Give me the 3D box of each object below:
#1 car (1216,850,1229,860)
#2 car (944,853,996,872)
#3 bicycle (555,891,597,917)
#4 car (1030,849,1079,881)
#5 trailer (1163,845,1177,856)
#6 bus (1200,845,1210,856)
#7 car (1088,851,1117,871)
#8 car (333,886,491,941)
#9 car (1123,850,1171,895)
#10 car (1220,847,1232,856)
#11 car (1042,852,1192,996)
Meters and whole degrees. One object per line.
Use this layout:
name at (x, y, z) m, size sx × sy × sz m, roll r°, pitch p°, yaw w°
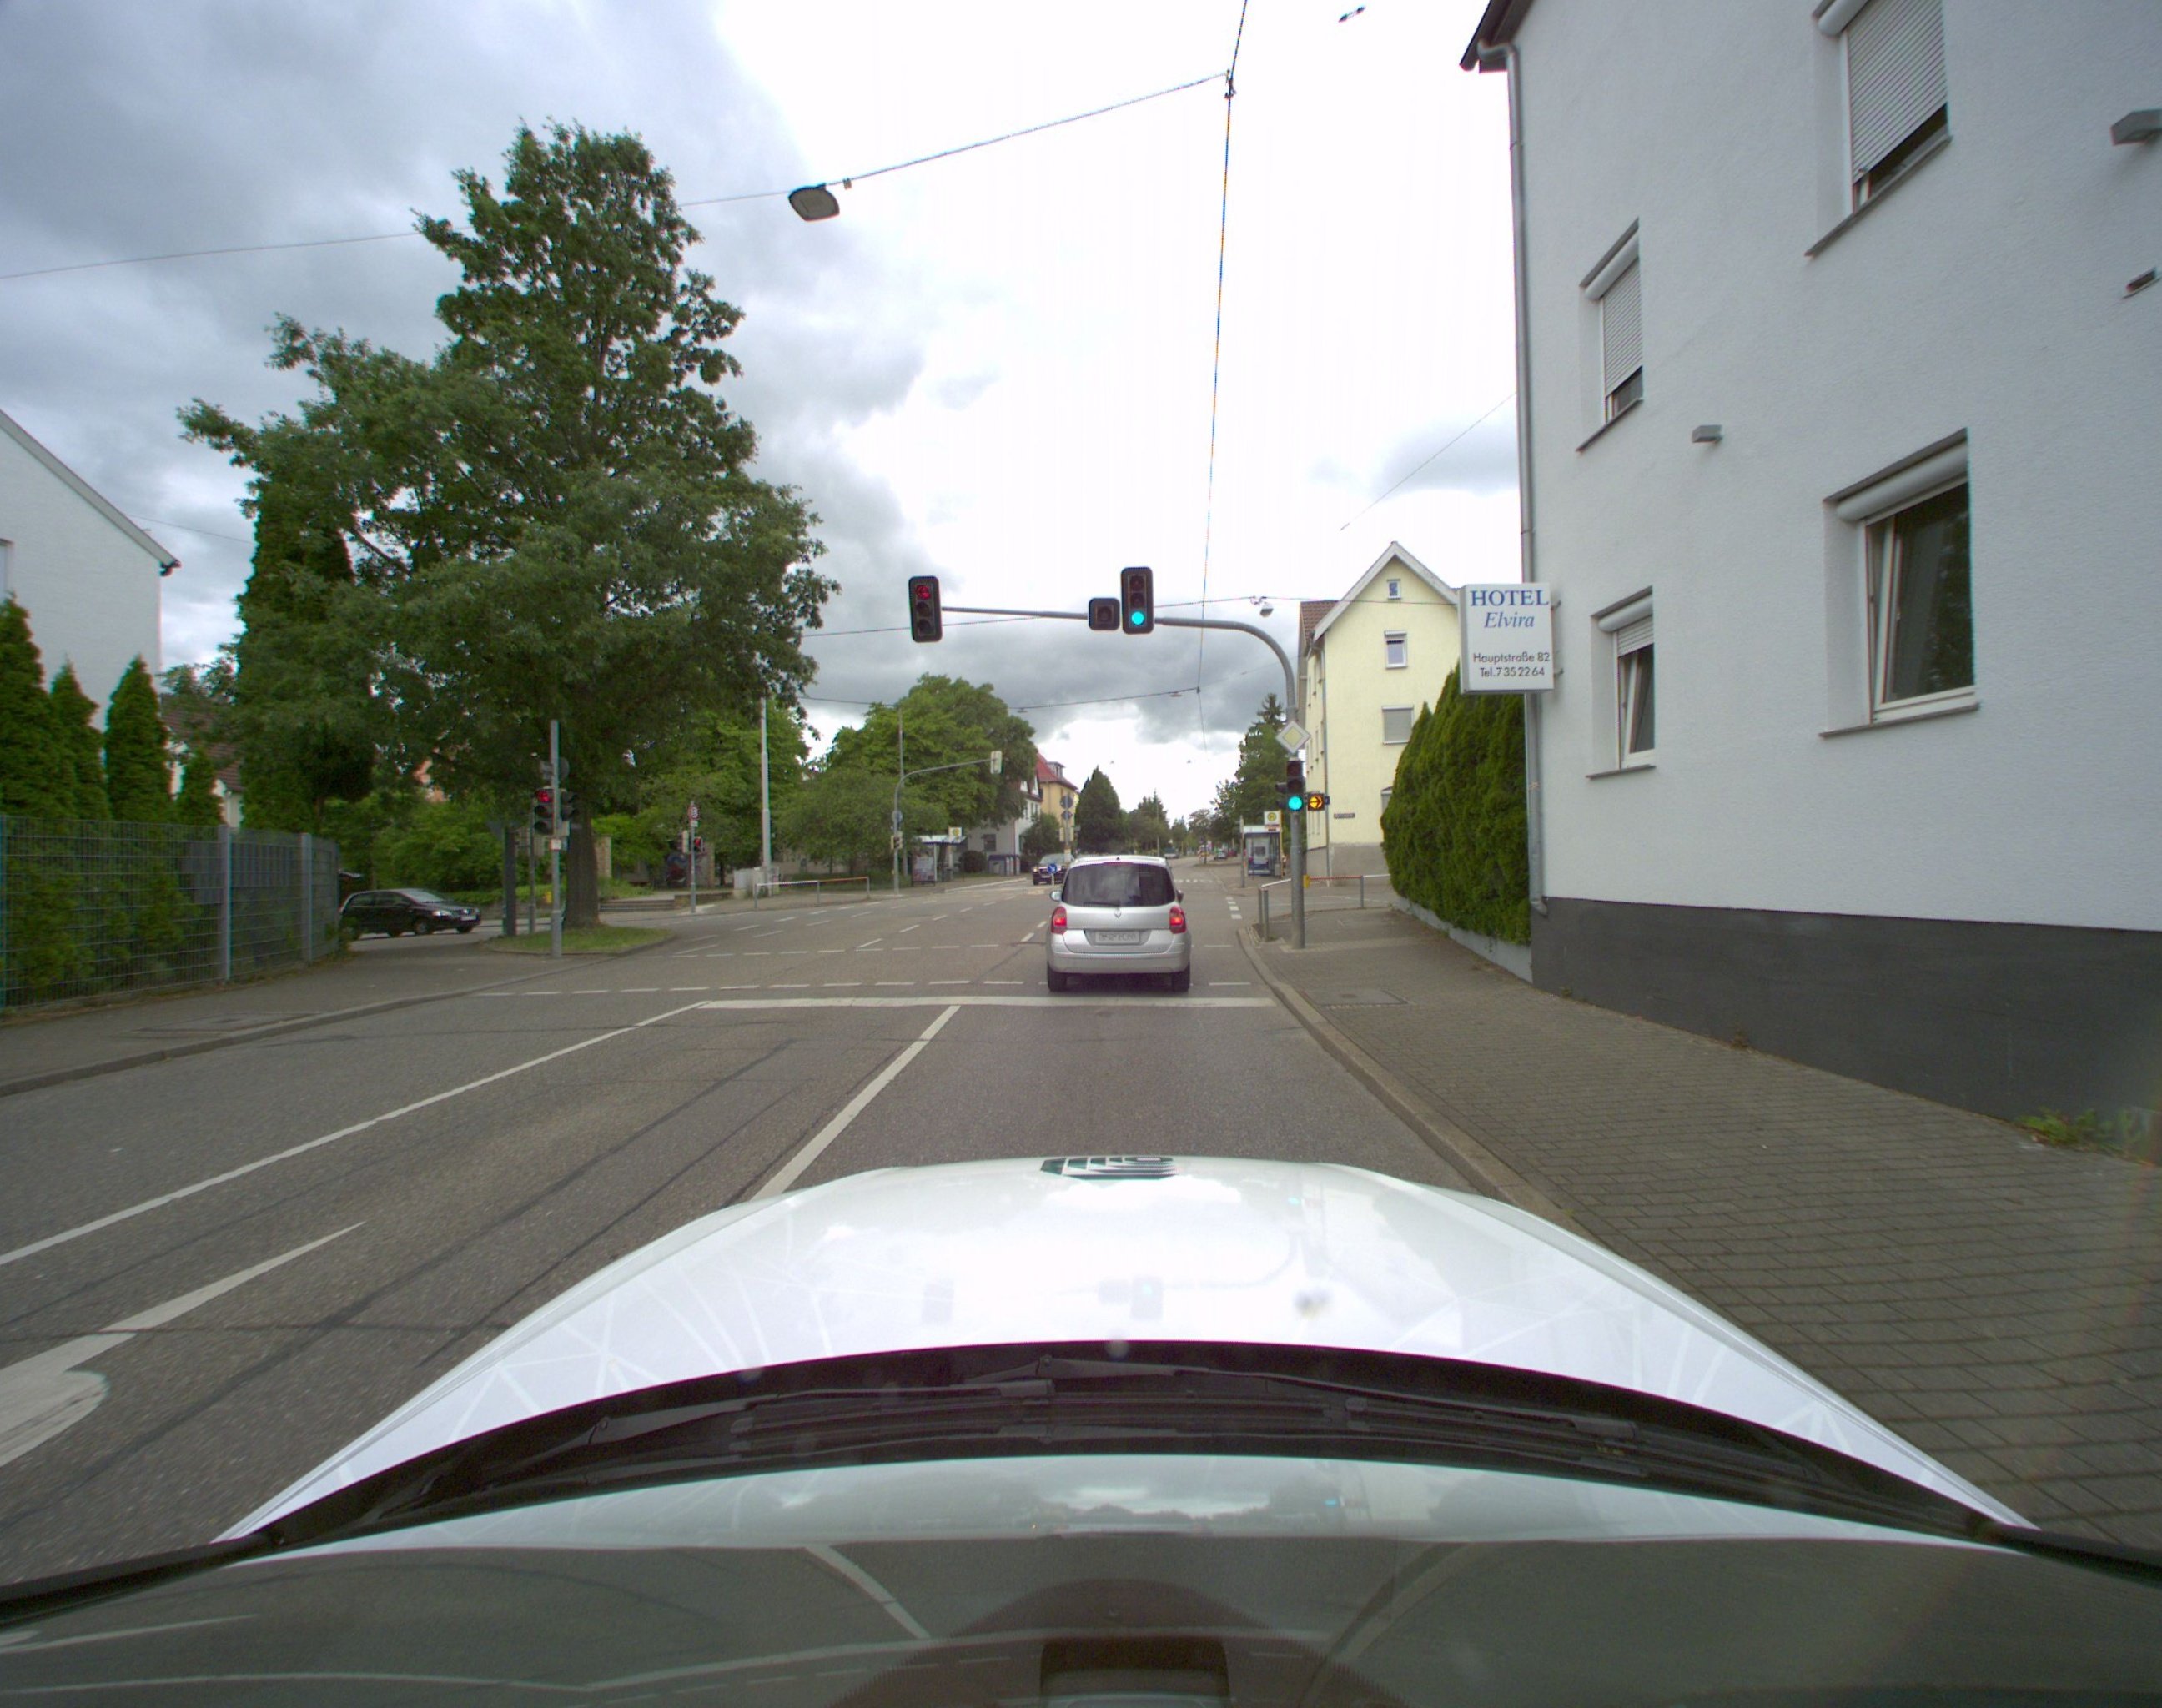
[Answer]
car at (20.102, 0.125, 115.920) m, size 1.639 × 1.382 × 4.013 m, roll -1°, pitch -1°, yaw 12°
car at (-9.444, 0.738, 69.579) m, size 3.963 × 1.332 × 1.726 m, roll -4°, pitch -2°, yaw 9°
bicycle at (-20.503, 2.031, 33.086) m, size 1.312 × 0.942 × 0.424 m, roll -4°, pitch 0°, yaw -7°
car at (-1.438, 0.623, 46.263) m, size 1.747 × 1.635 × 4.608 m, roll -4°, pitch -1°, yaw 11°
trailer at (17.122, -0.646, 157.132) m, size 2.297 × 2.087 × 5.889 m, roll 0°, pitch -1°, yaw 10°
bus at (37.211, -1.090, 244.299) m, size 2.615 × 3.086 × 12.105 m, roll -3°, pitch 0°, yaw 10°
car at (1.667, 0.564, 61.260) m, size 1.554 × 1.420 × 4.142 m, roll -2°, pitch -1°, yaw 10°
car at (-20.835, 1.849, 25.438) m, size 3.613 × 1.399 × 1.775 m, roll -4°, pitch -3°, yaw 8°
car at (2.724, 0.723, 33.493) m, size 1.820 × 1.675 × 3.579 m, roll -2°, pitch 0°, yaw 5°
car at (23.967, -0.362, 134.566) m, size 1.650 × 1.393 × 3.681 m, roll -2°, pitch 0°, yaw 14°
car at (0.523, 0.776, 10.824) m, size 1.623 × 1.557 × 4.004 m, roll 0°, pitch -1°, yaw 4°
